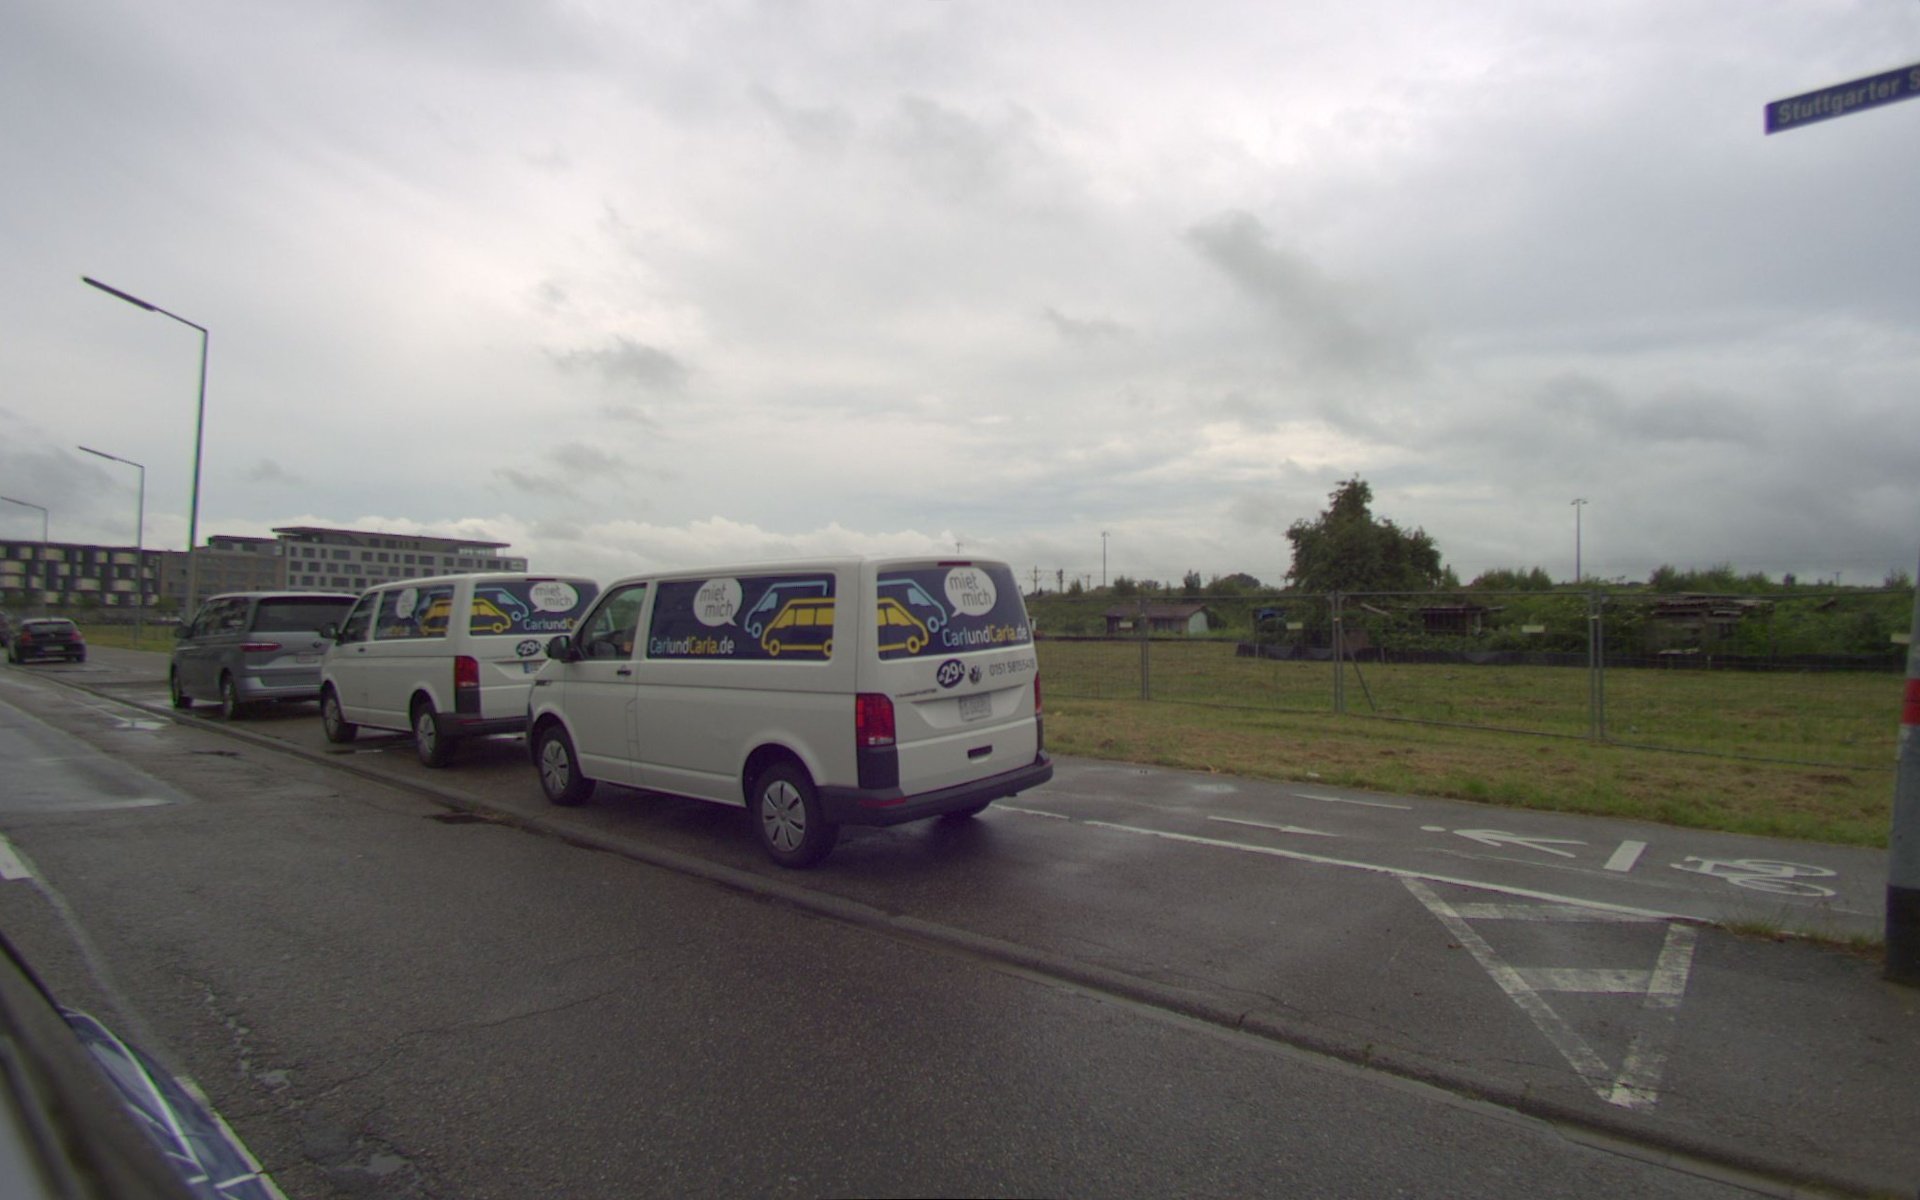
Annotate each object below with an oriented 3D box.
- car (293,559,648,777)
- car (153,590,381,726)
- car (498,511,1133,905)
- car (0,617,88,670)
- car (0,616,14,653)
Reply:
[{"bbox_3d":[-5.934,0.698,11.889,5.256,2.029,1.875,-1,-2,42],"label":"car"},{"bbox_3d":[-11.516,0.868,16.667,4.993,1.916,1.935,-1,-2,42],"label":"car"},{"bbox_3d":[-1.444,0.615,7.831,5.272,2.074,1.939,-1,-1,42],"label":"car"},{"bbox_3d":[-29.969,1.367,32.953,4.151,1.573,1.828,-1,0,41],"label":"car"},{"bbox_3d":[-45.904,1.618,47.660,4.882,1.706,1.733,-2,-3,44],"label":"car"}]
